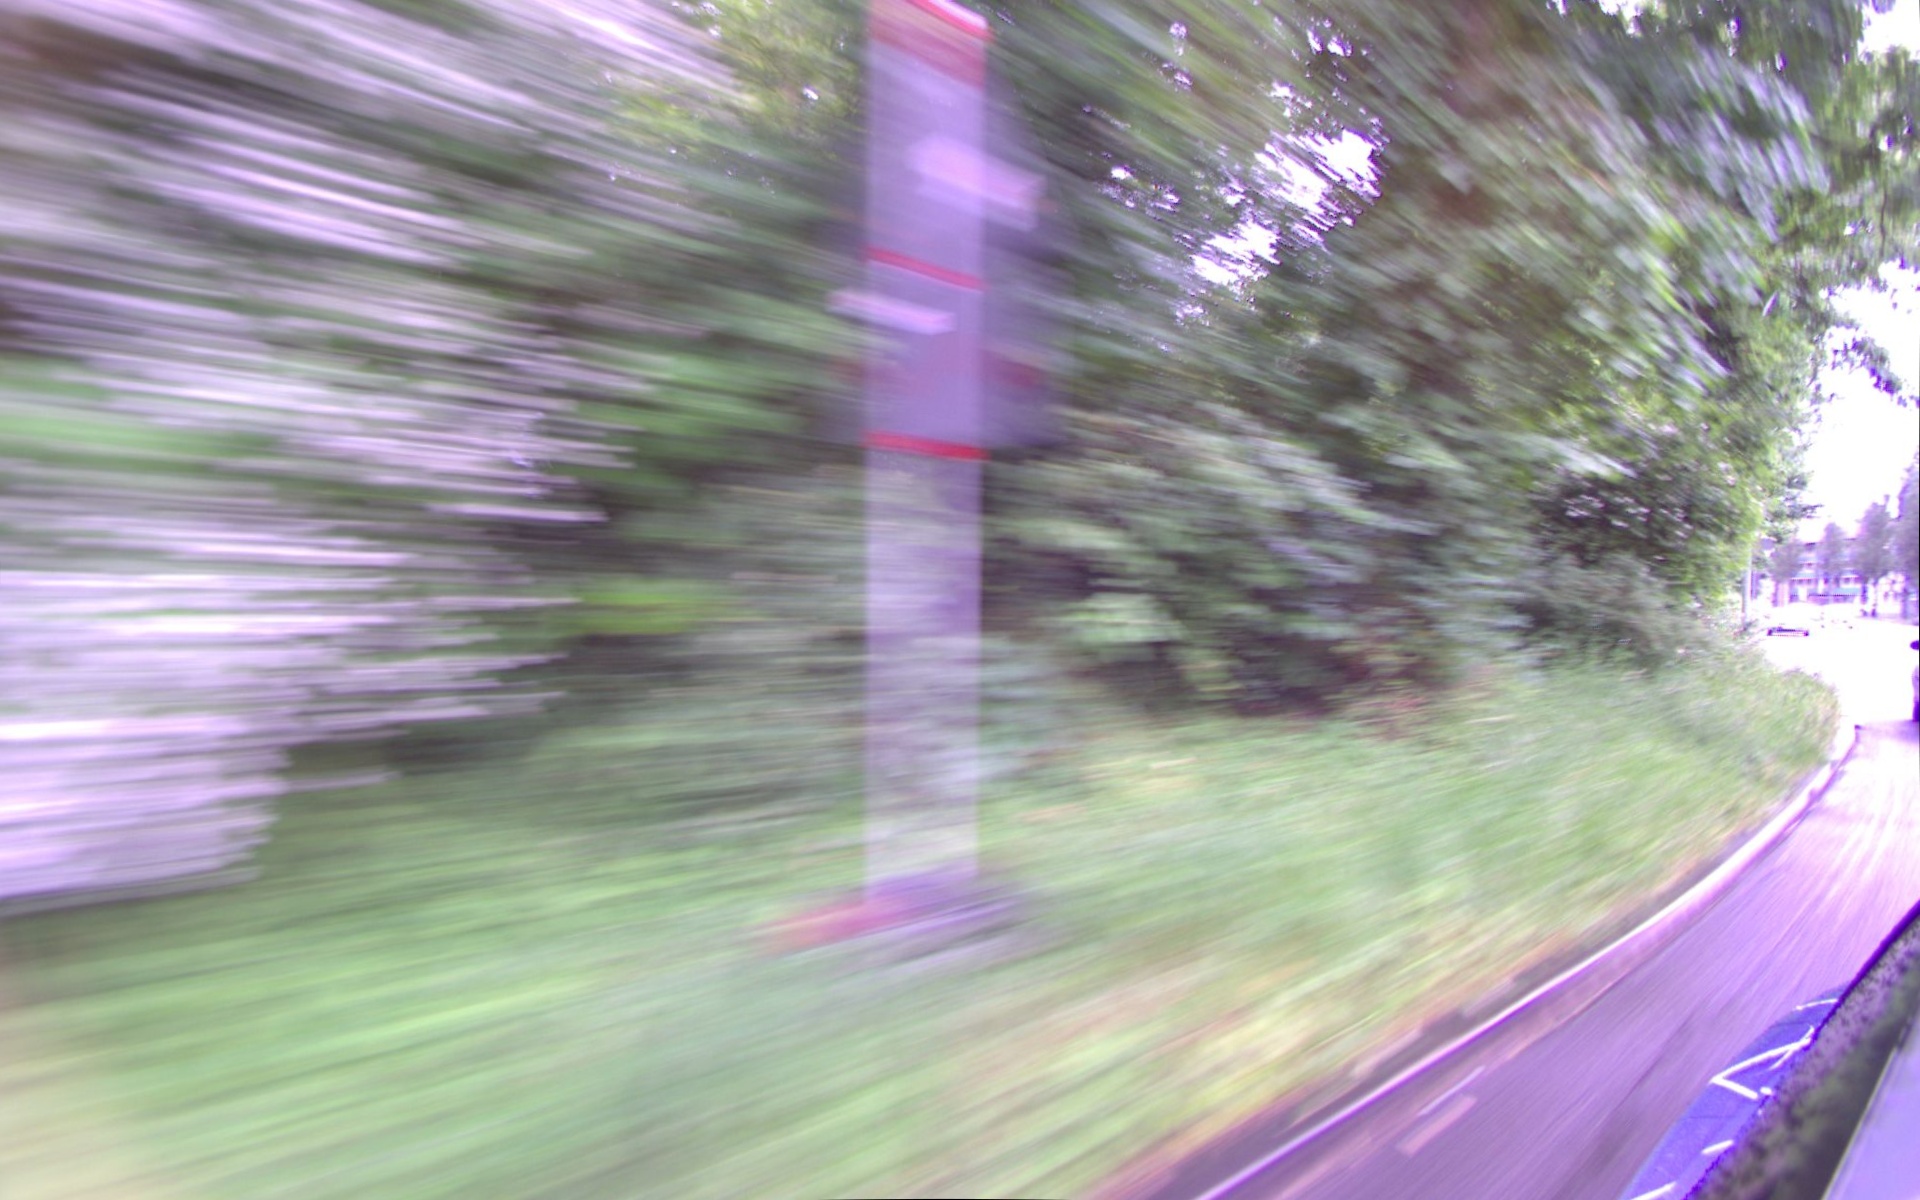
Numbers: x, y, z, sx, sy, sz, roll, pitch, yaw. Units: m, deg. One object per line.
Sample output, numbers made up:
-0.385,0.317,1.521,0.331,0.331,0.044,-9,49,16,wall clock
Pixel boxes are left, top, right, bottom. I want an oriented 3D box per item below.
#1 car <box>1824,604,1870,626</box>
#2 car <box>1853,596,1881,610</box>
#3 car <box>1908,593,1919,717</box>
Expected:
63.819,1.063,72.870,1.987,1.482,3.951,3,1,34,car
114.982,0.366,128.350,1.855,1.586,4.125,3,1,32,car
12.679,0.710,11.998,1.747,1.616,4.110,-1,-1,39,car
